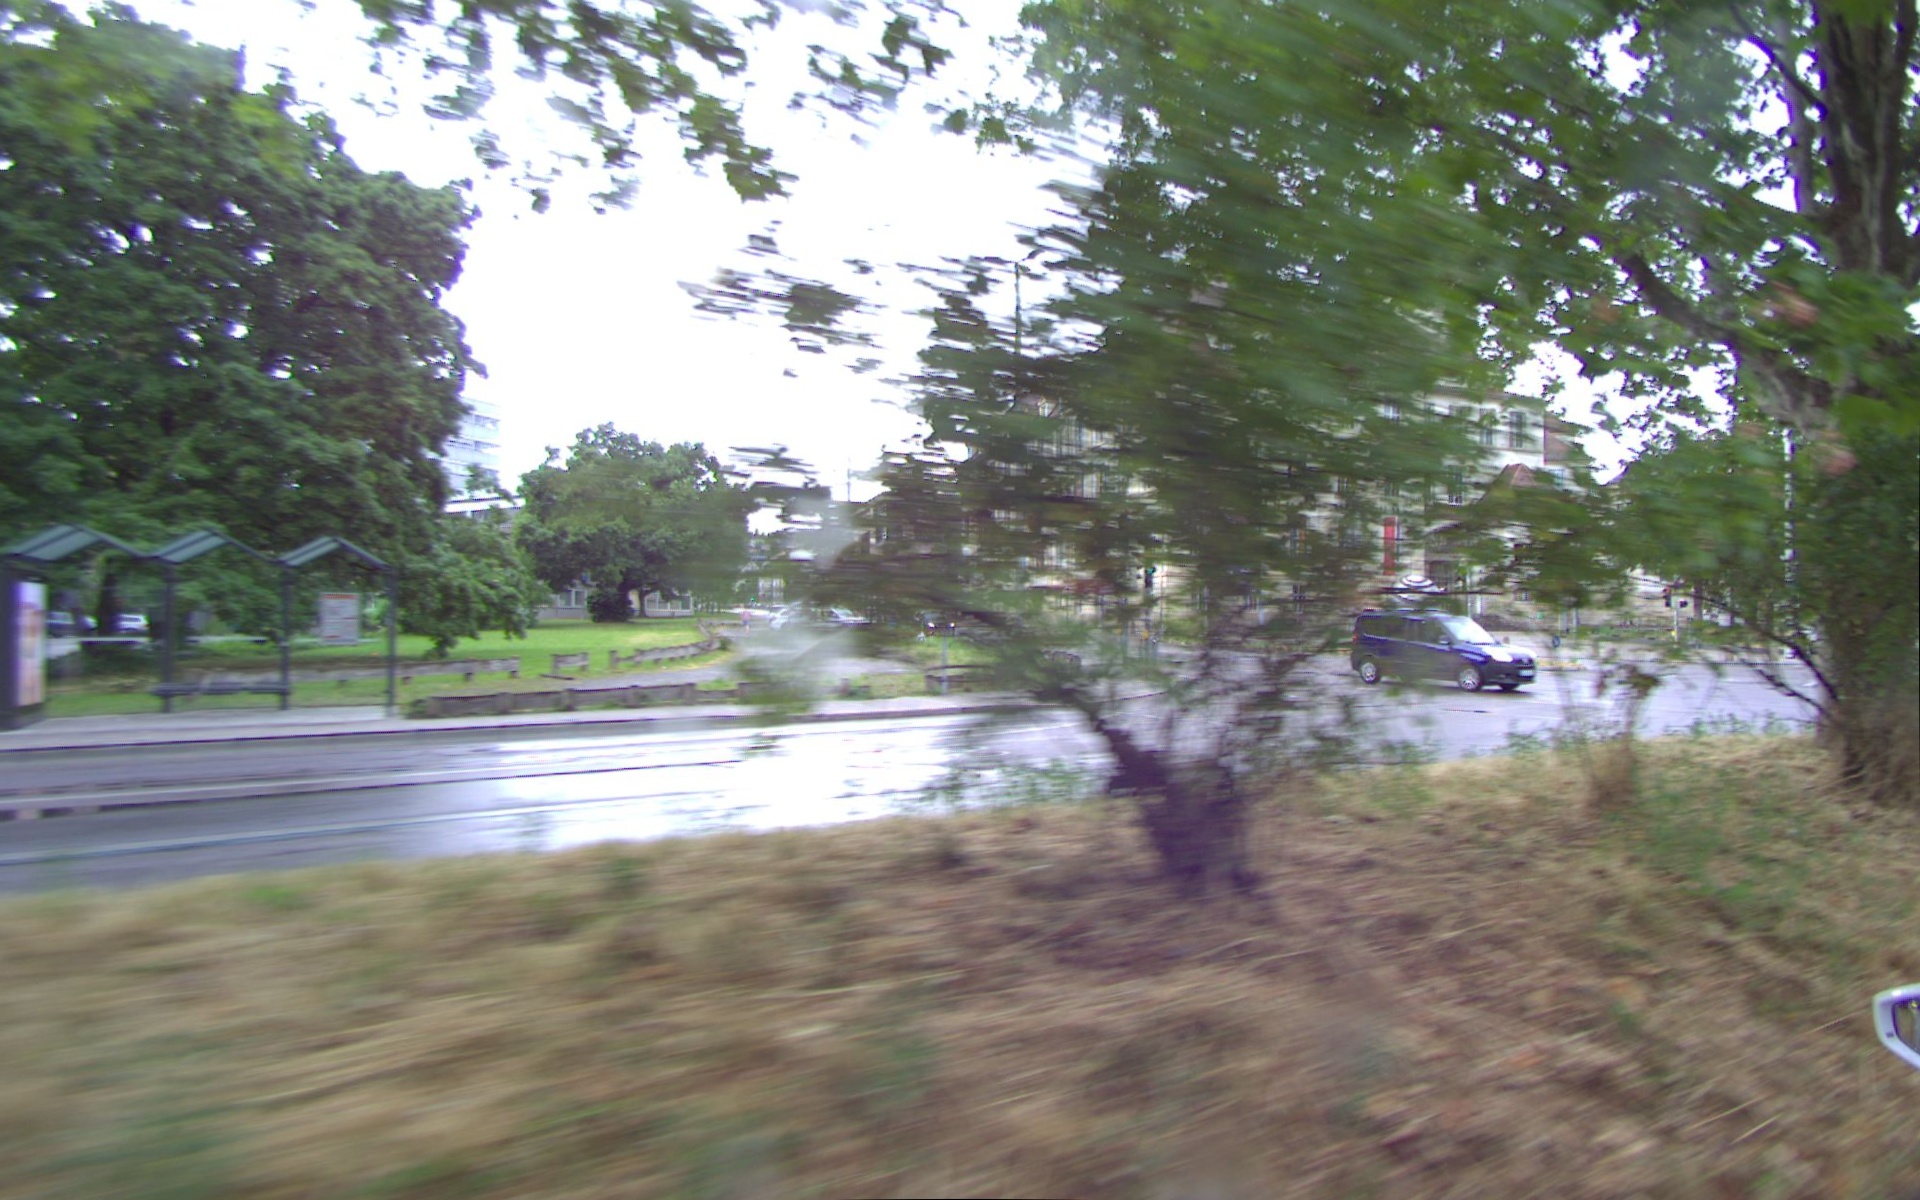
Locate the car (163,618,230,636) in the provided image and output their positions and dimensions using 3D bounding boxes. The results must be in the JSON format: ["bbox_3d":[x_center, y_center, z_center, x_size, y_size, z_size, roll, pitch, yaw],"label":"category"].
[{"bbox_3d":[-55.574,1.950,73.144,3.499,1.158,1.586,2,-1,-17],"label":"car"}]

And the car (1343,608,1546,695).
[{"bbox_3d":[11.782,1.173,24.708,1.776,1.933,4.277,0,-1,-29],"label":"car"}]

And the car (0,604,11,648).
[{"bbox_3d":[-47.545,1.155,46.244,4.997,2.049,2.280,2,-1,-17],"label":"car"}]

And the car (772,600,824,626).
[{"bbox_3d":[-11.324,0.926,70.153,1.838,1.765,4.030,1,-2,-39],"label":"car"}]

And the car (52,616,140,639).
[{"bbox_3d":[-50.726,1.616,59.031,3.499,1.158,1.586,2,-1,-17],"label":"car"}]

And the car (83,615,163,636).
[{"bbox_3d":[-52.573,1.601,63.147,3.499,1.158,1.586,2,0,-17],"label":"car"}]

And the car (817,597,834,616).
[{"bbox_3d":[-20.529,0.983,153.488,1.967,2.652,3.987,2,-1,-15],"label":"car"}]

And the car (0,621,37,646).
[{"bbox_3d":[-47.988,1.621,49.313,3.499,1.158,1.684,2,-1,-17],"label":"car"}]
